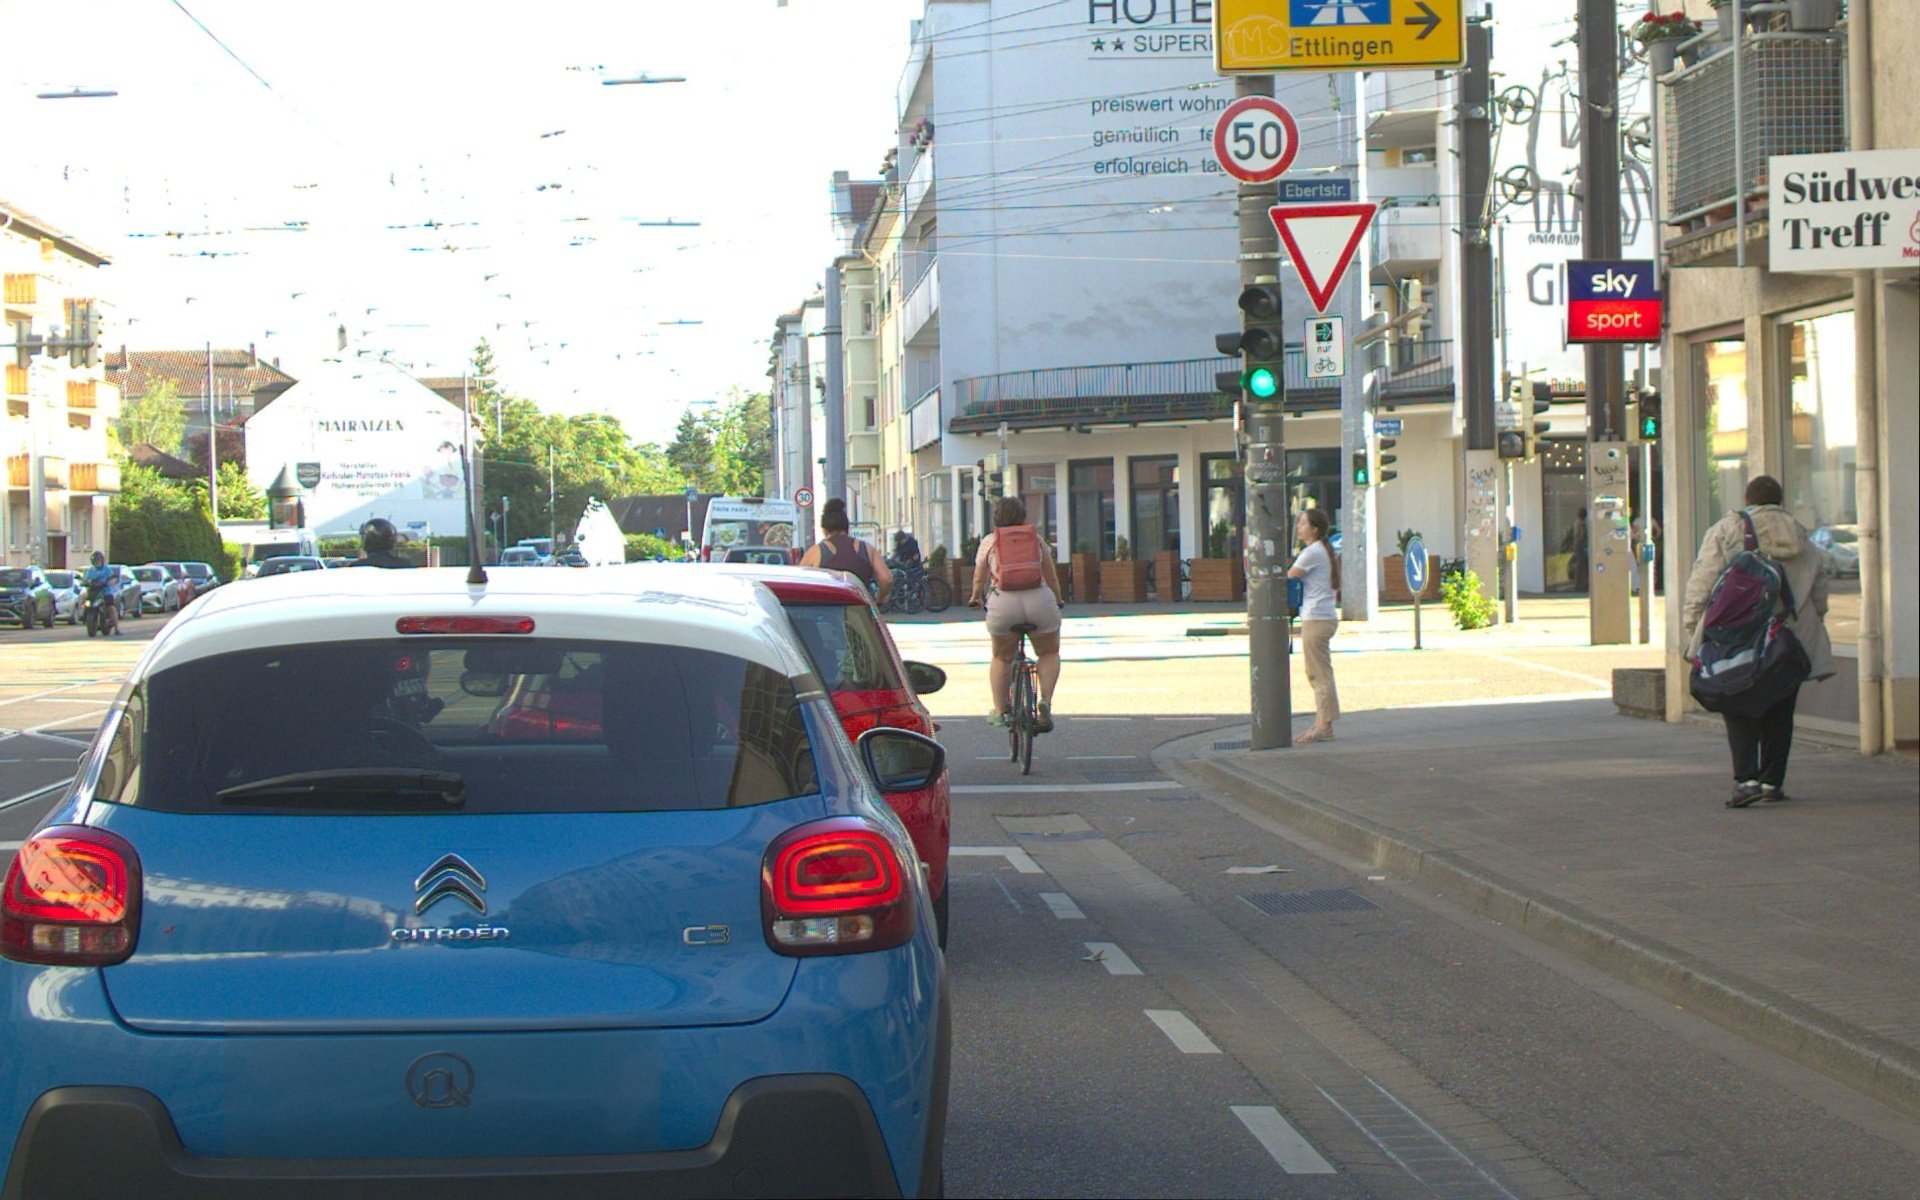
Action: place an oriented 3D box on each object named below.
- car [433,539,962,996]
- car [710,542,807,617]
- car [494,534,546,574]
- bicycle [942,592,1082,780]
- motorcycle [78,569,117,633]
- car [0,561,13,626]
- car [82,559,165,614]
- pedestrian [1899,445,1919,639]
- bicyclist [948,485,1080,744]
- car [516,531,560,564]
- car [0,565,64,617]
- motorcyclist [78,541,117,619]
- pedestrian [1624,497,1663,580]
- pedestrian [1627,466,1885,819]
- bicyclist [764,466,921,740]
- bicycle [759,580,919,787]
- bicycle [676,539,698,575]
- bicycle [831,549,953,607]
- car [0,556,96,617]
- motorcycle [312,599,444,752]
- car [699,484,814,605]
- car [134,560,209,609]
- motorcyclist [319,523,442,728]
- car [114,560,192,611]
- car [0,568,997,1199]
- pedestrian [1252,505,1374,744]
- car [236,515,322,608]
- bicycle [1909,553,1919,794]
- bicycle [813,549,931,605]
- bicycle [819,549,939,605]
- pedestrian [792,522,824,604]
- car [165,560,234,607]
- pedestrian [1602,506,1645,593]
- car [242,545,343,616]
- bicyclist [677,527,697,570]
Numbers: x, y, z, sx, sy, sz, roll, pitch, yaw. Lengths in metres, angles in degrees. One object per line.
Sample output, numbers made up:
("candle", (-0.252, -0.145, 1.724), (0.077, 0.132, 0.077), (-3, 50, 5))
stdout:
("car", (-1.063, 0.545, 13.614), (1.784, 1.516, 3.763), (1, 1, -5))
("car", (-4.001, -0.415, 67.841), (1.657, 1.426, 3.889), (1, 1, -7))
("car", (-21.743, -2.248, 169.929), (2.218, 1.925, 4.950), (1, 1, -4))
("bicycle", (0.369, 0.546, 23.078), (0.811, 1.177, 2.064), (1, 1, 4))
("motorcycle", (-16.803, 0.030, 66.980), (0.711, 1.216, 1.966), (-1, -1, -14))
("car", (-23.179, -0.156, 79.331), (1.741, 1.521, 4.230), (1, 1, -4))
("car", (-24.930, -0.413, 102.544), (1.869, 1.571, 4.001), (1, 1, -6))
("pedestrian", (5.741, -0.335, 19.231), (0.623, 1.084, 0.679), (-3, 2, -37))
("bicyclist", (0.371, 0.089, 22.995), (0.811, 1.686, 0.935), (1, 0, 4))
("car", (-23.049, -2.836, 187.831), (2.074, 1.756, 5.037), (1, 1, -4))
("car", (-23.822, -0.239, 86.077), (1.946, 1.235, 4.283), (1, 1, -5))
("motorcyclist", (-16.824, -0.390, 67.060), (0.693, 1.491, 0.684), (-1, -1, -14))
("pedestrian", (13.249, -1.195, 66.639), (0.610, 1.603, 0.668), (1, 0, 22))
("pedestrian", (3.779, 0.185, 16.381), (0.884, 1.586, 0.811), (-4, 2, -8))
("bicyclist", (-0.738, 0.014, 21.654), (0.940, 1.667, 1.079), (1, 0, -2))
("bicycle", (-0.757, 0.497, 21.675), (0.940, 1.219, 2.095), (1, 1, -2))
("bicycle", (-12.815, -2.016, 161.369), (0.791, 1.664, 2.230), (1, 1, 1))
("bicycle", (-1.304, -0.429, 65.809), (2.251, 0.998, 0.856), (-3, 1, -5))
("car", (-24.393, -0.379, 92.074), (1.869, 1.571, 4.001), (1, 1, -6))
("motorcycle", (-4.238, 0.532, 25.148), (0.855, 1.043, 1.942), (1, 1, -7))
("car", (-4.346, -1.166, 72.820), (2.265, 2.473, 5.009), (0, 1, -5))
("car", (-25.824, -0.528, 112.684), (1.869, 1.571, 4.001), (1, 1, -6))
("motorcyclist", (-4.276, 0.183, 25.415), (0.855, 1.483, 0.729), (1, 0, -7))
("car", (-25.209, -0.467, 107.485), (1.869, 1.571, 4.001), (1, 1, -6))
("car", (-1.029, 0.667, 7.190), (1.736, 1.447, 3.663), (0, 1, -7))
("pedestrian", (2.484, 0.170, 24.170), (0.540, 1.618, 0.732), (-5, -1, 21))
("car", (-23.557, -1.321, 119.019), (2.417, 3.131, 3.489), (1, 0, -3))
("bicycle", (4.900, 0.356, 15.763), (0.496, 1.157, 1.777), (-1, 0, -3))
("bicycle", (-1.756, -0.464, 68.291), (2.251, 0.998, 0.856), (-3, 1, -5))
("bicycle", (-1.594, -0.456, 67.176), (2.251, 0.998, 0.856), (-3, 1, -5))
("pedestrian", (-3.072, -0.754, 69.645), (0.613, 1.648, 0.671), (1, 0, -2))
("car", (-26.296, -0.597, 118.924), (1.869, 1.571, 4.001), (1, 1, -6))
("pedestrian", (12.303, -0.935, 63.749), (0.610, 1.603, 0.668), (1, 0, 27))
("car", (-14.777, -0.444, 76.289), (1.778, 1.481, 3.829), (-2, 1, -5))
("bicyclist", (-12.810, -2.429, 161.368), (0.791, 2.018, 0.986), (1, 0, 1))
